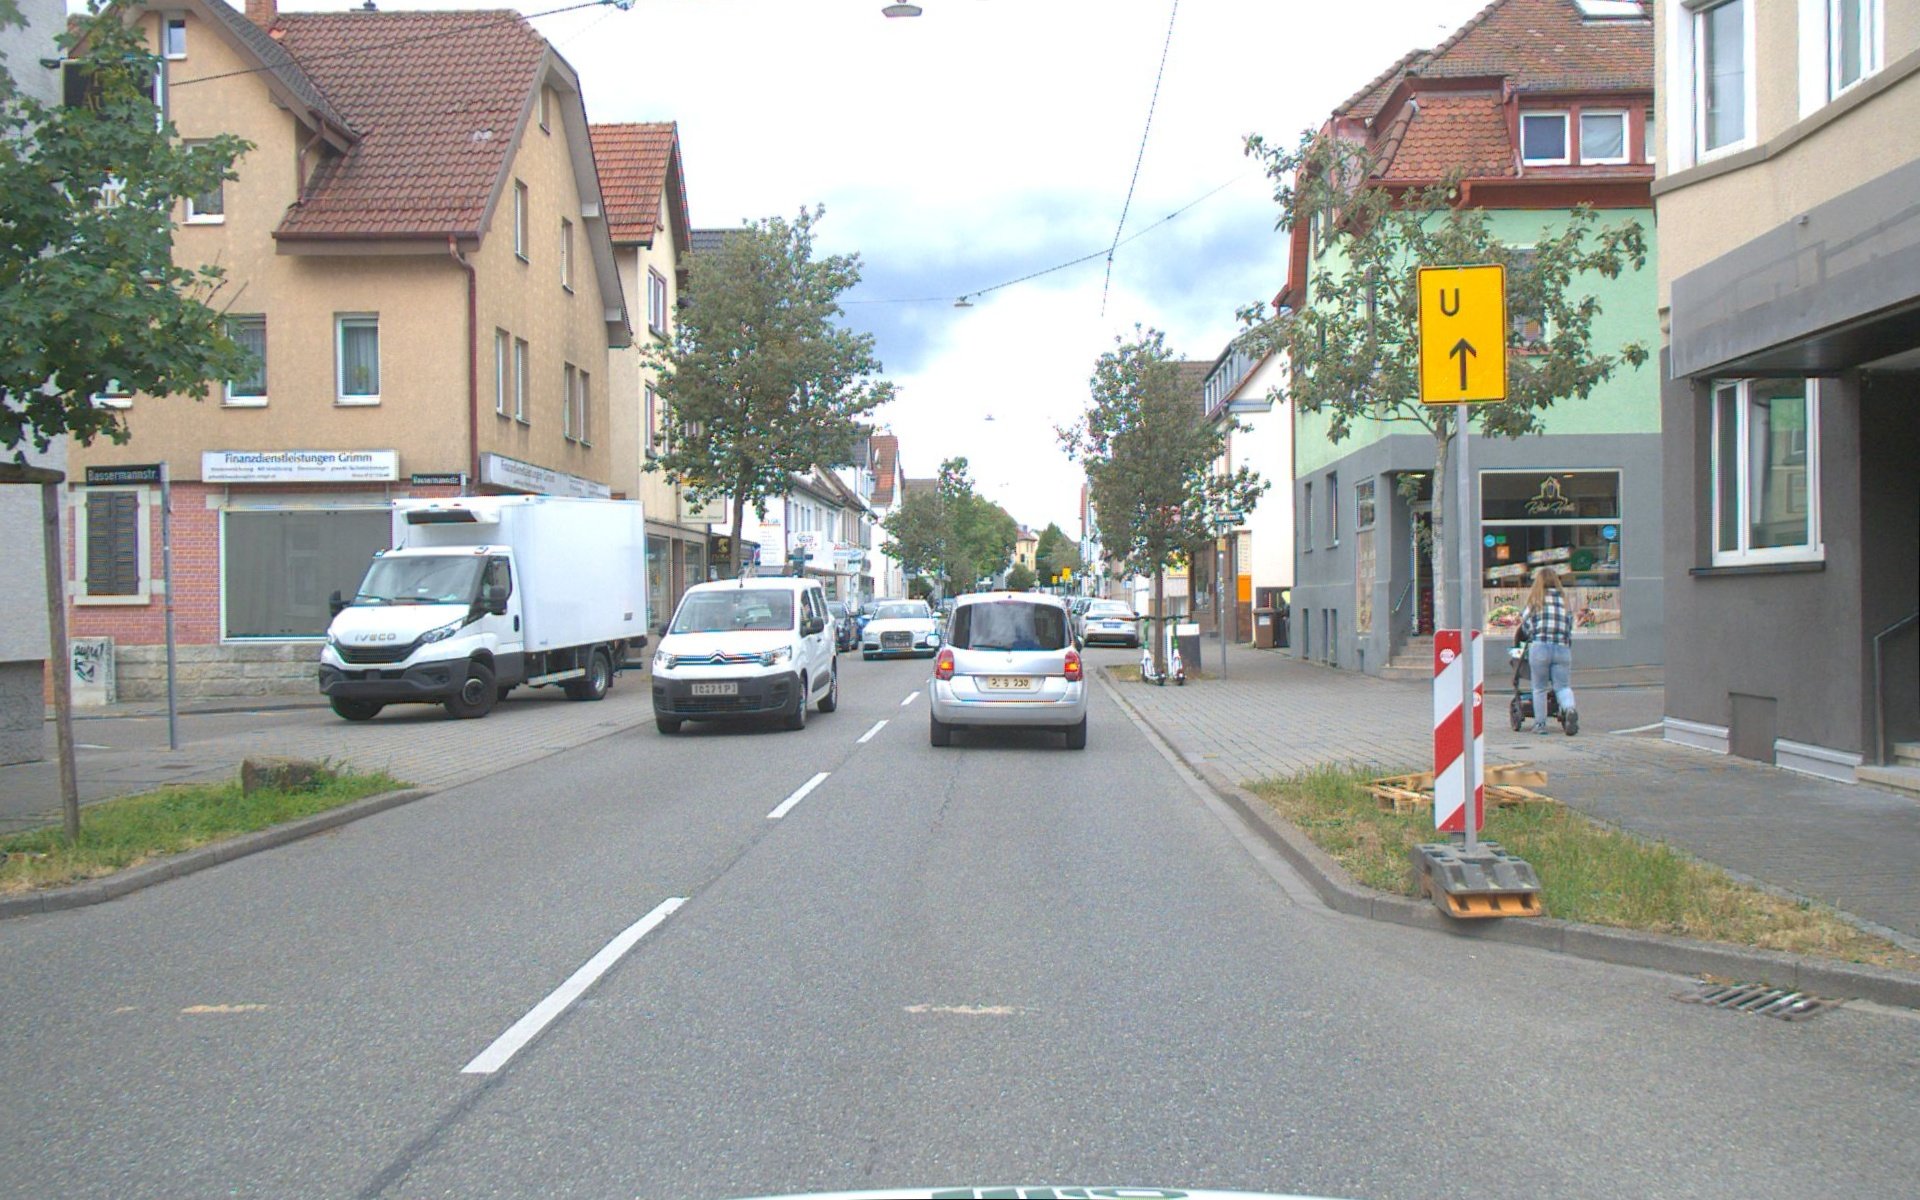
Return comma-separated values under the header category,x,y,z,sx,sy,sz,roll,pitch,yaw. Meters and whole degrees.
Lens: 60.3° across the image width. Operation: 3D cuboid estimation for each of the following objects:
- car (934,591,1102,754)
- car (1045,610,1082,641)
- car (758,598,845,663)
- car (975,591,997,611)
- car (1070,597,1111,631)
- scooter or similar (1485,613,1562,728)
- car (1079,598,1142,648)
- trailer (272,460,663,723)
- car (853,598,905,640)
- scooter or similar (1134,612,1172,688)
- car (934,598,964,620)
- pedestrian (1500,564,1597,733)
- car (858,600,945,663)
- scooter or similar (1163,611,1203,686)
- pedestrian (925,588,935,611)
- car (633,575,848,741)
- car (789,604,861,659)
category,x,y,z,sx,sy,sz,roll,pitch,yaw
car,0.683,0.720,18.414,1.647,1.593,3.995,1,0,3
car,5.077,1.235,81.449,1.718,1.471,4.456,1,0,3
car,-4.207,0.778,44.328,1.674,1.593,4.115,-2,0,3
car,2.466,0.082,155.710,1.861,1.768,4.367,-2,0,3
car,6.030,0.619,76.752,1.793,1.524,3.995,1,0,3
scooter or similar,6.314,0.773,18.563,0.577,1.254,0.891,0,0,2
car,4.664,0.696,51.836,1.793,1.471,4.333,1,0,3
trailer,-6.859,-0.108,24.330,2.449,3.275,7.141,0,0,11
car,-3.182,0.734,65.661,1.647,1.525,3.776,-2,0,3
scooter or similar,3.345,0.853,28.819,0.491,1.257,1.943,0,0,2
car,-0.823,0.628,122.394,1.908,1.493,4.517,-3,0,3
pedestrian,6.261,0.507,17.635,0.735,1.750,0.900,0,0,2
car,-1.443,0.772,42.470,1.804,1.458,4.545,-2,0,3
scooter or similar,3.869,0.826,28.807,0.491,1.257,1.943,0,0,2
pedestrian,-2.383,-0.059,130.025,0.747,1.822,0.890,0,0,2
car,-2.635,0.657,20.868,1.952,1.827,4.278,-2,0,2
car,-4.017,0.925,49.652,1.647,1.519,3.593,-2,0,3
